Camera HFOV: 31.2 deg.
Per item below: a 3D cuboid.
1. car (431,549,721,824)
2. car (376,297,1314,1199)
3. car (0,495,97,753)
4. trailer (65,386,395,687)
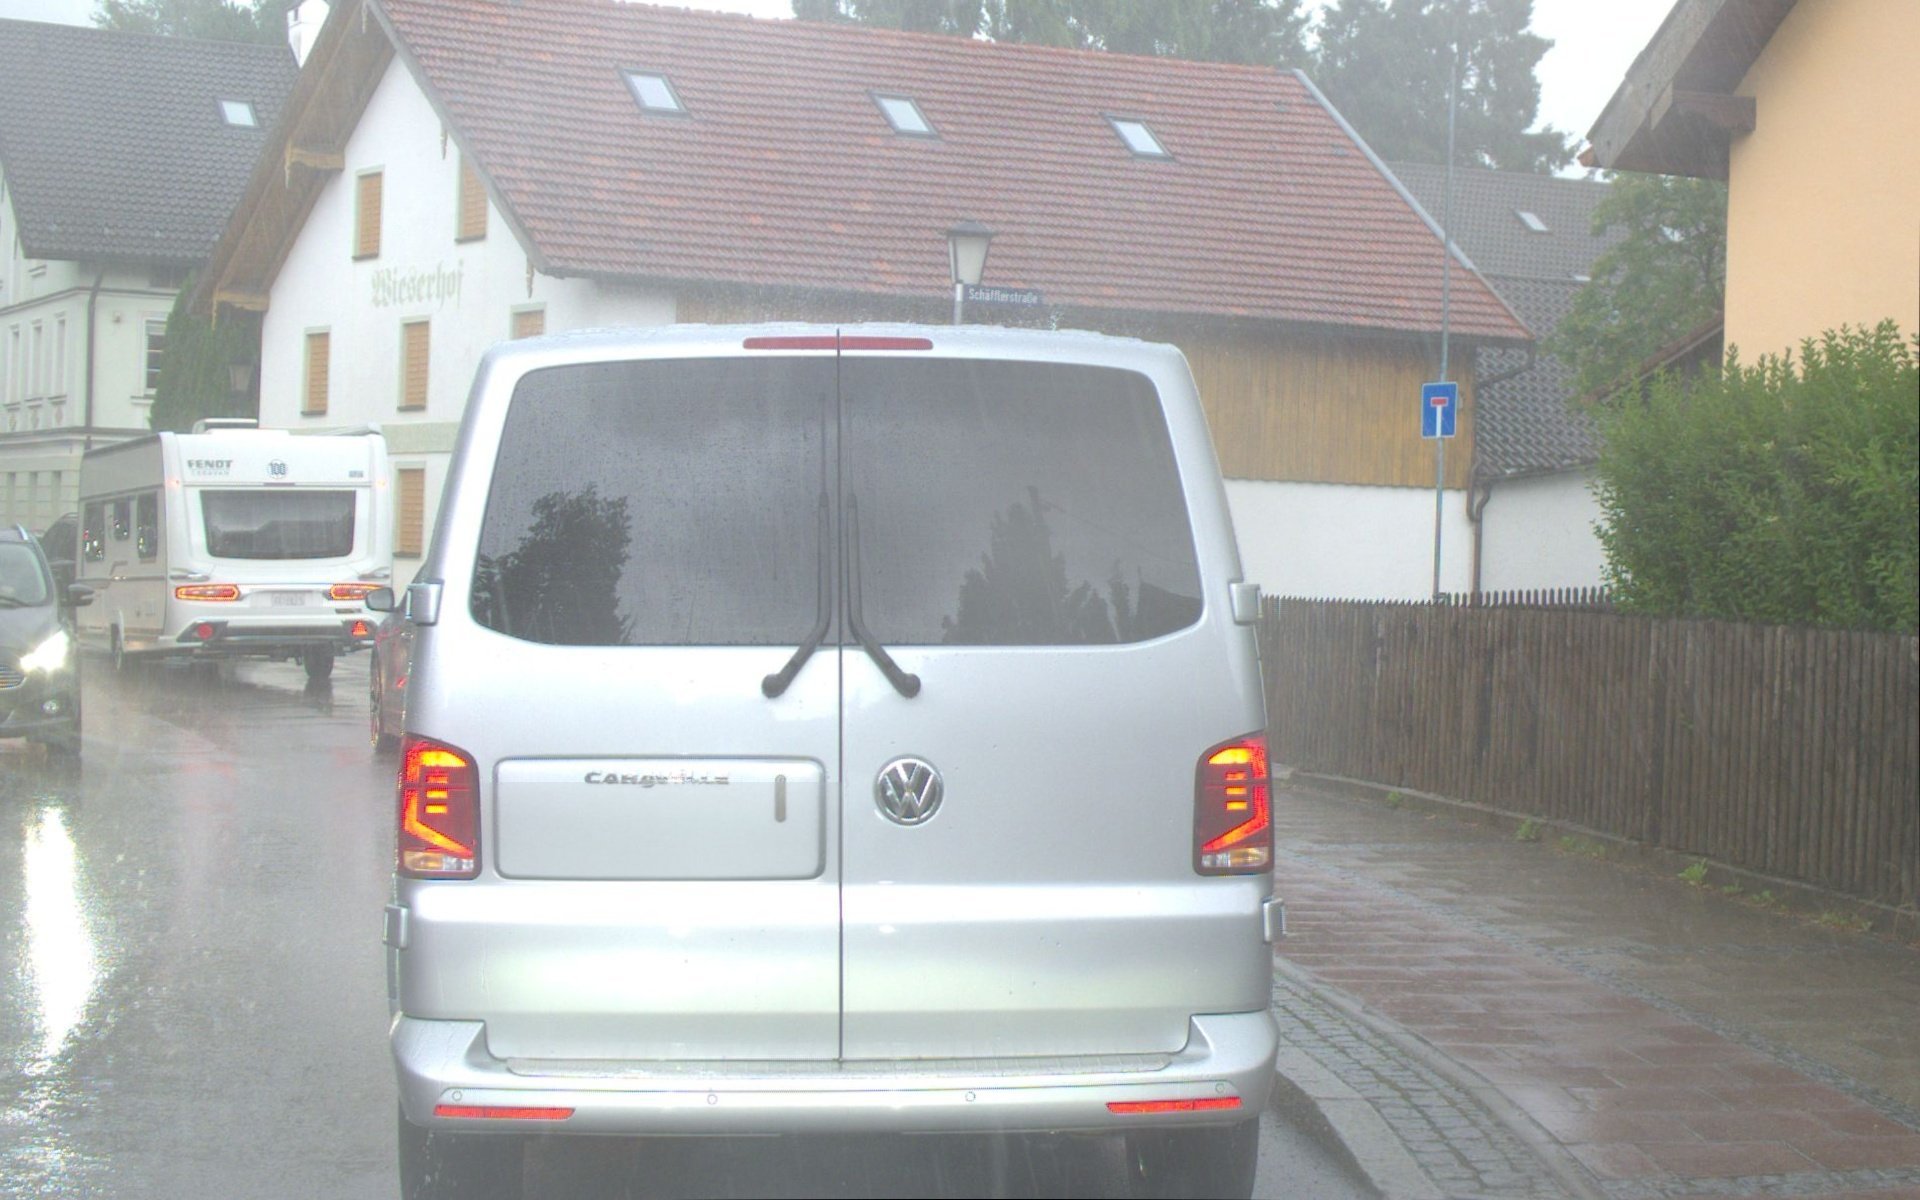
[{"bbox_3d":[-2.711,0.493,23.466,1.708,1.578,4.687,-1,2,-9],"label":"car"},{"bbox_3d":[-0.219,0.371,9.069,1.776,1.956,5.074,0,1,0],"label":"car"},{"bbox_3d":[-7.462,0.132,25.020,1.922,1.738,4.193,-1,1,-19],"label":"car"},{"bbox_3d":[-7.833,-0.658,36.363,2.270,2.894,6.134,0,1,-23],"label":"trailer"}]
